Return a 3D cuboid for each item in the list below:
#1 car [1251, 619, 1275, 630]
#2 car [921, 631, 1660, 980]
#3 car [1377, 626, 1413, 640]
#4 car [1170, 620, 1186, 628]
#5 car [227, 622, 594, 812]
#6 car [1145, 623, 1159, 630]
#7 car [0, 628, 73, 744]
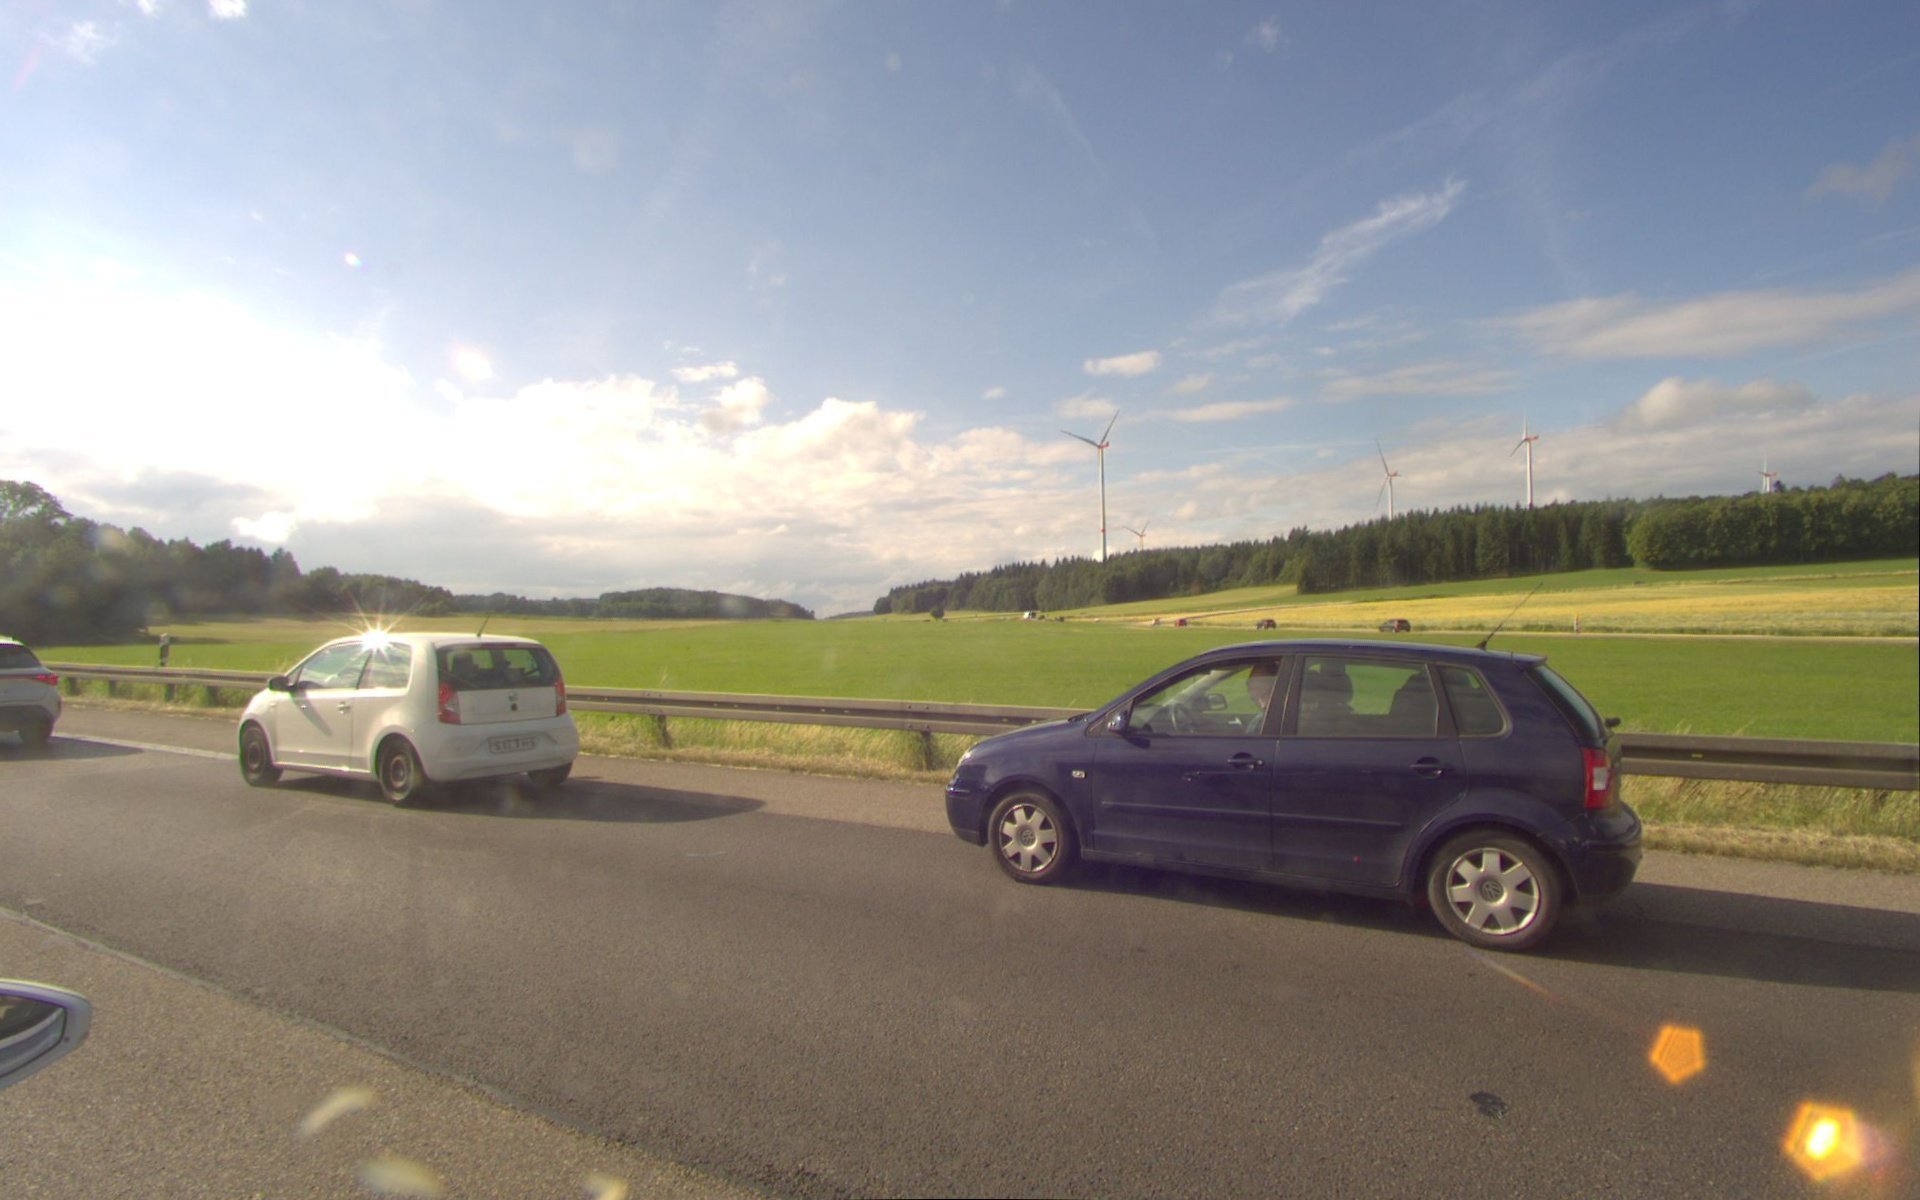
[{"bbox_3d":[44.555,3.587,147.385,1.803,1.505,4.221,0,-2,-6],"label":"car"},{"bbox_3d":[1.780,0.930,5.920,3.719,1.464,1.708,-1,-2,31],"label":"car"},{"bbox_3d":[47.950,3.621,110.408,1.803,1.505,4.221,0,-2,-6],"label":"car"},{"bbox_3d":[42.340,4.623,194.917,1.803,1.505,4.221,0,-2,-6],"label":"car"},{"bbox_3d":[-5.274,0.984,9.568,3.326,1.514,1.547,0,-1,29],"label":"car"},{"bbox_3d":[42.190,5.898,220.478,1.803,1.505,4.288,0,-2,-6],"label":"car"},{"bbox_3d":[-13.892,1.124,13.525,4.084,1.464,1.619,-1,-2,29],"label":"car"}]
